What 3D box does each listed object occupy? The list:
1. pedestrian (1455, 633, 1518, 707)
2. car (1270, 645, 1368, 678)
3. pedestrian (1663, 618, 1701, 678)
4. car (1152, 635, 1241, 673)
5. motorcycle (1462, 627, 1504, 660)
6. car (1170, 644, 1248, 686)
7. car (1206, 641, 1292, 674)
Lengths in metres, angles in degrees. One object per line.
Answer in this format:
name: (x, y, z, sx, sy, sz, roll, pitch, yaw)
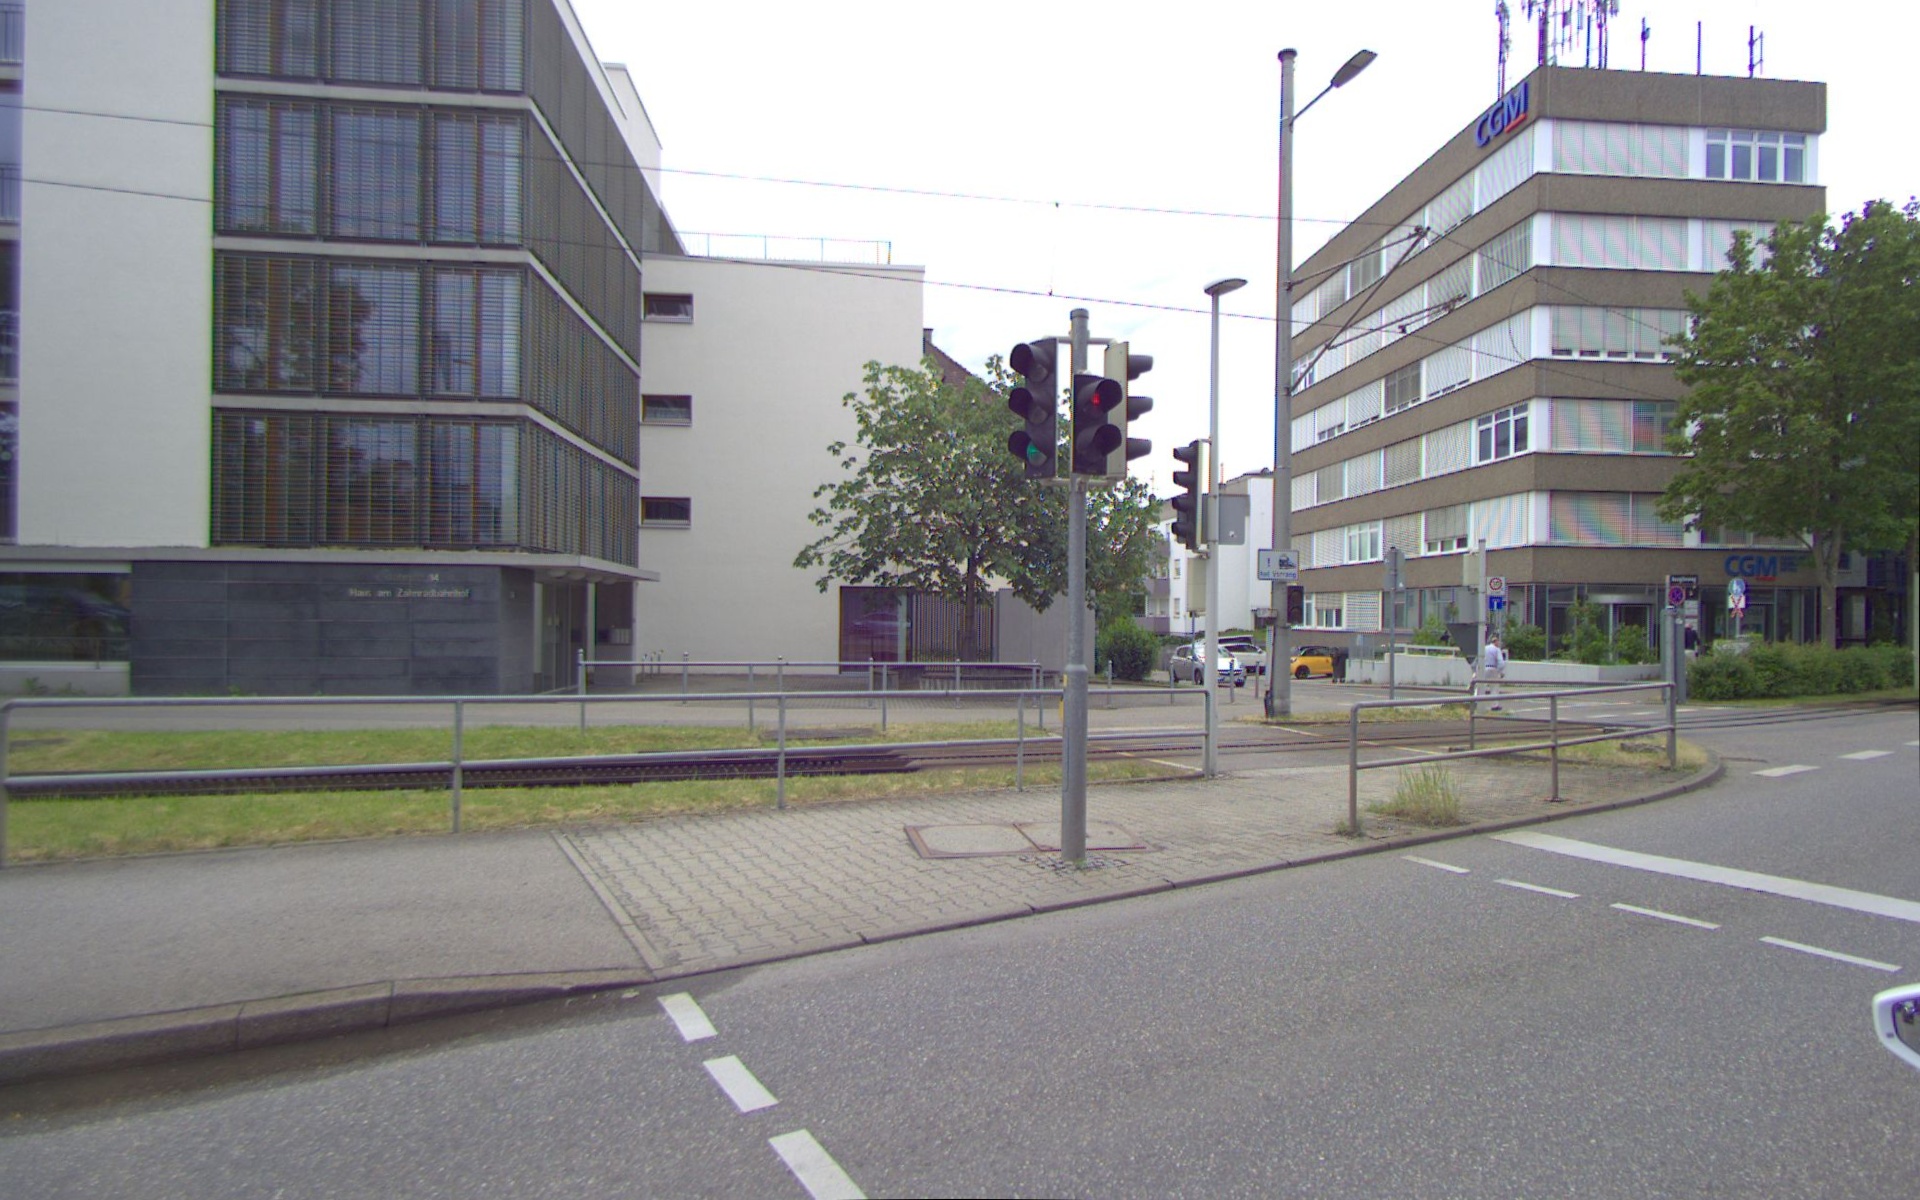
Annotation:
pedestrian: (11.323, 1.486, 21.610, 0.985, 1.546, 0.843, 2, -2, -32)
car: (16.445, 2.824, 46.073, 3.928, 1.443, 1.728, 1, -2, -10)
pedestrian: (21.054, 1.390, 29.300, 0.674, 1.728, 0.685, 2, -2, -29)
car: (13.496, 3.091, 57.305, 4.603, 2.095, 1.852, 1, -2, -10)
motorcycle: (20.093, 1.659, 38.603, 0.557, 1.215, 1.884, 1, -1, -3)
car: (8.857, 2.292, 36.014, 1.610, 1.377, 3.999, 1, -3, -3)
car: (15.059, 2.988, 52.383, 3.928, 1.594, 1.852, 1, -2, -10)
